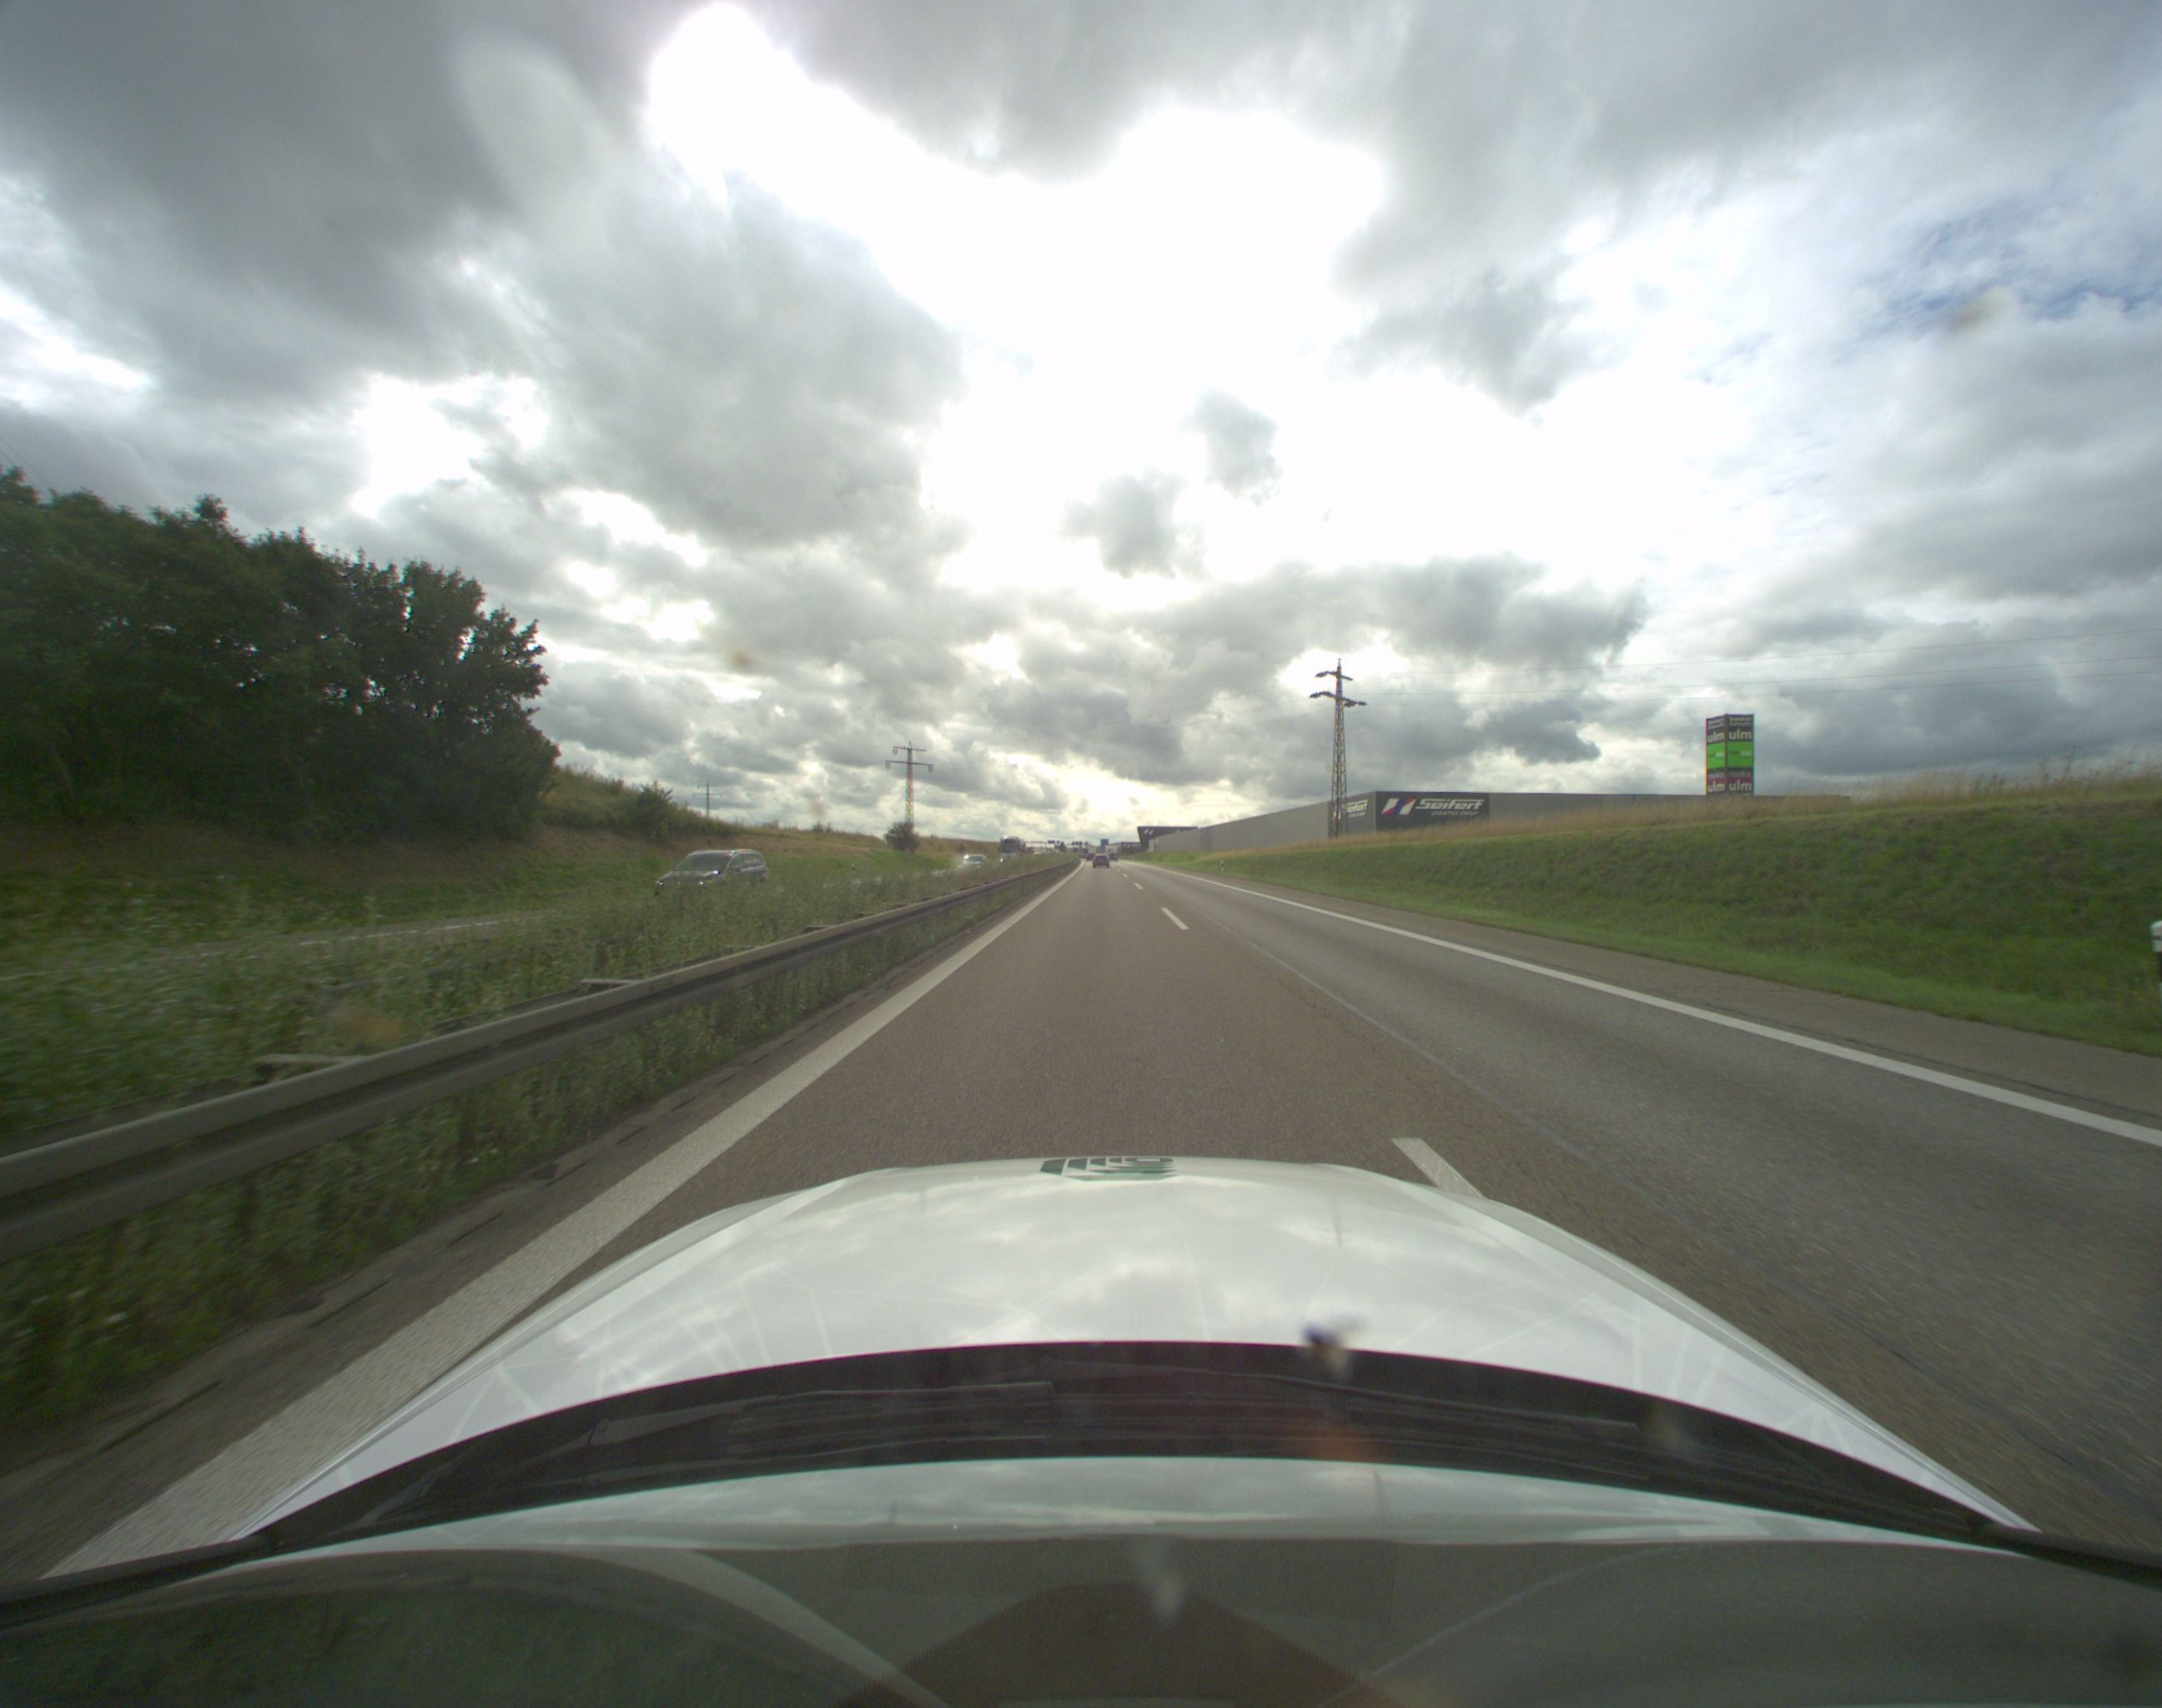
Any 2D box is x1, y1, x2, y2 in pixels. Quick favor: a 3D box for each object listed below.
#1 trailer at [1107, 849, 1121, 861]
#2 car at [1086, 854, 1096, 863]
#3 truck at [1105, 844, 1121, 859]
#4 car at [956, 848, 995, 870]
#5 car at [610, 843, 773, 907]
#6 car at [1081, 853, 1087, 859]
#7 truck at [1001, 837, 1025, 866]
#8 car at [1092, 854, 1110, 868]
[{"bbox_3d":[6.160,0.166,153.127,2.331,2.136,3.998,0,0,-1],"label":"trailer"},{"bbox_3d":[1.919,0.866,156.255,1.940,1.685,3.998,0,0,-1],"label":"car"},{"bbox_3d":[6.244,-0.421,160.067,2.476,2.950,5.808,0,0,-3],"label":"truck"},{"bbox_3d":[-7.272,0.323,56.421,1.986,1.457,4.445,0,0,1],"label":"car"},{"bbox_3d":[-10.704,0.522,22.958,1.922,1.575,5.620,0,0,-1],"label":"car"},{"bbox_3d":[0.954,0.595,248.998,1.936,1.775,3.696,0,0,1],"label":"car"},{"bbox_3d":[-9.499,-0.321,114.202,2.713,3.936,5.988,-1,0,1],"label":"truck"},{"bbox_3d":[2.144,0.778,87.288,1.741,1.453,3.998,0,0,-1],"label":"car"}]
